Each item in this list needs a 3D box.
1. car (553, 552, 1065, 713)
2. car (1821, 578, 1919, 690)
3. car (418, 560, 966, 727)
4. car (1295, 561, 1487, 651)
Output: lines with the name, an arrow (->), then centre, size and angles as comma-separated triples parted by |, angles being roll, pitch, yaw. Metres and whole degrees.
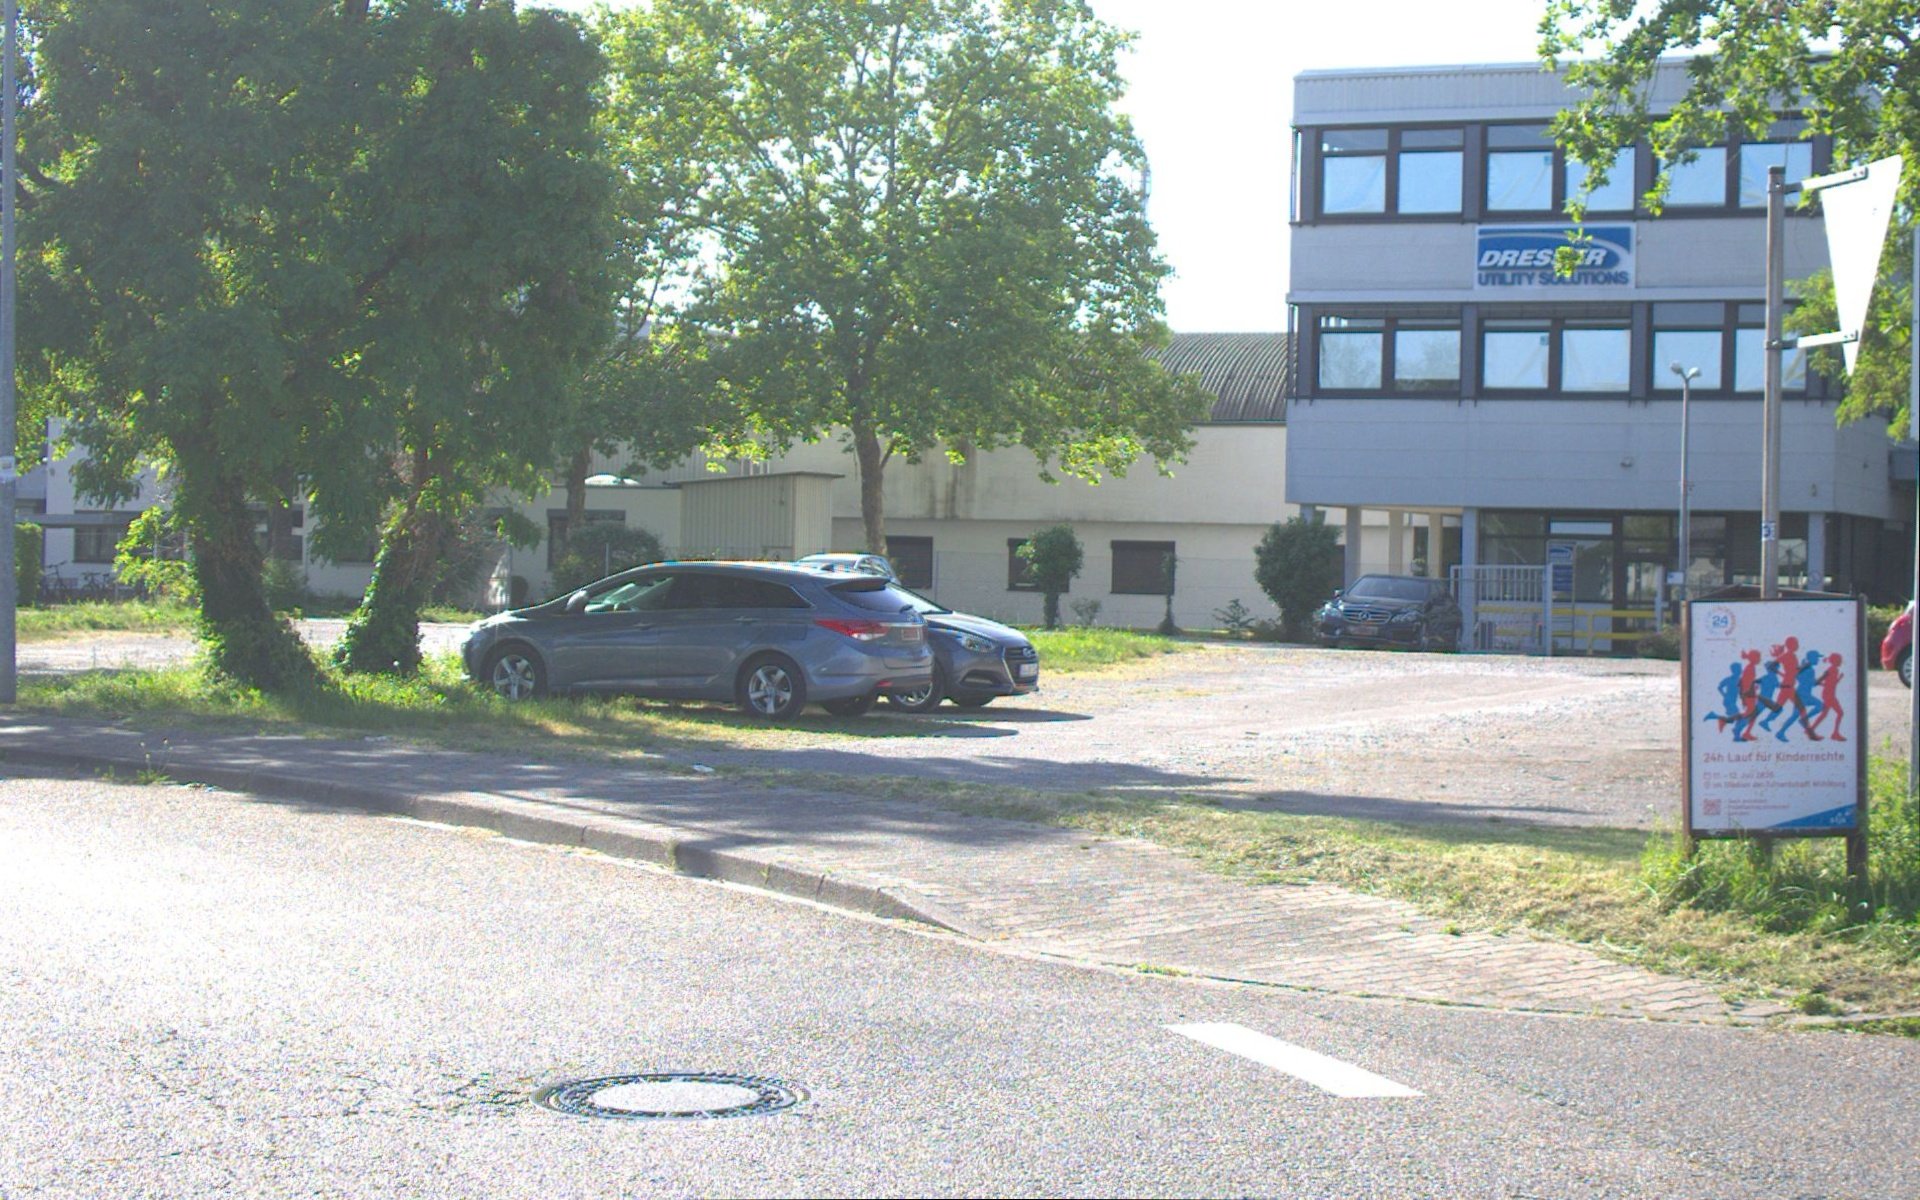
car -> -1.577, 0.302, 35.760 | 4.916, 1.479, 1.998 | 2, 1, 23
car -> 14.640, 0.510, 47.581 | 4.918, 1.479, 1.997 | 2, 2, 28
car -> -2.601, 0.383, 33.370 | 4.916, 1.421, 1.998 | 2, 1, 23
car -> 7.955, 0.085, 63.103 | 1.996, 1.479, 4.920 | 2, 2, 26
